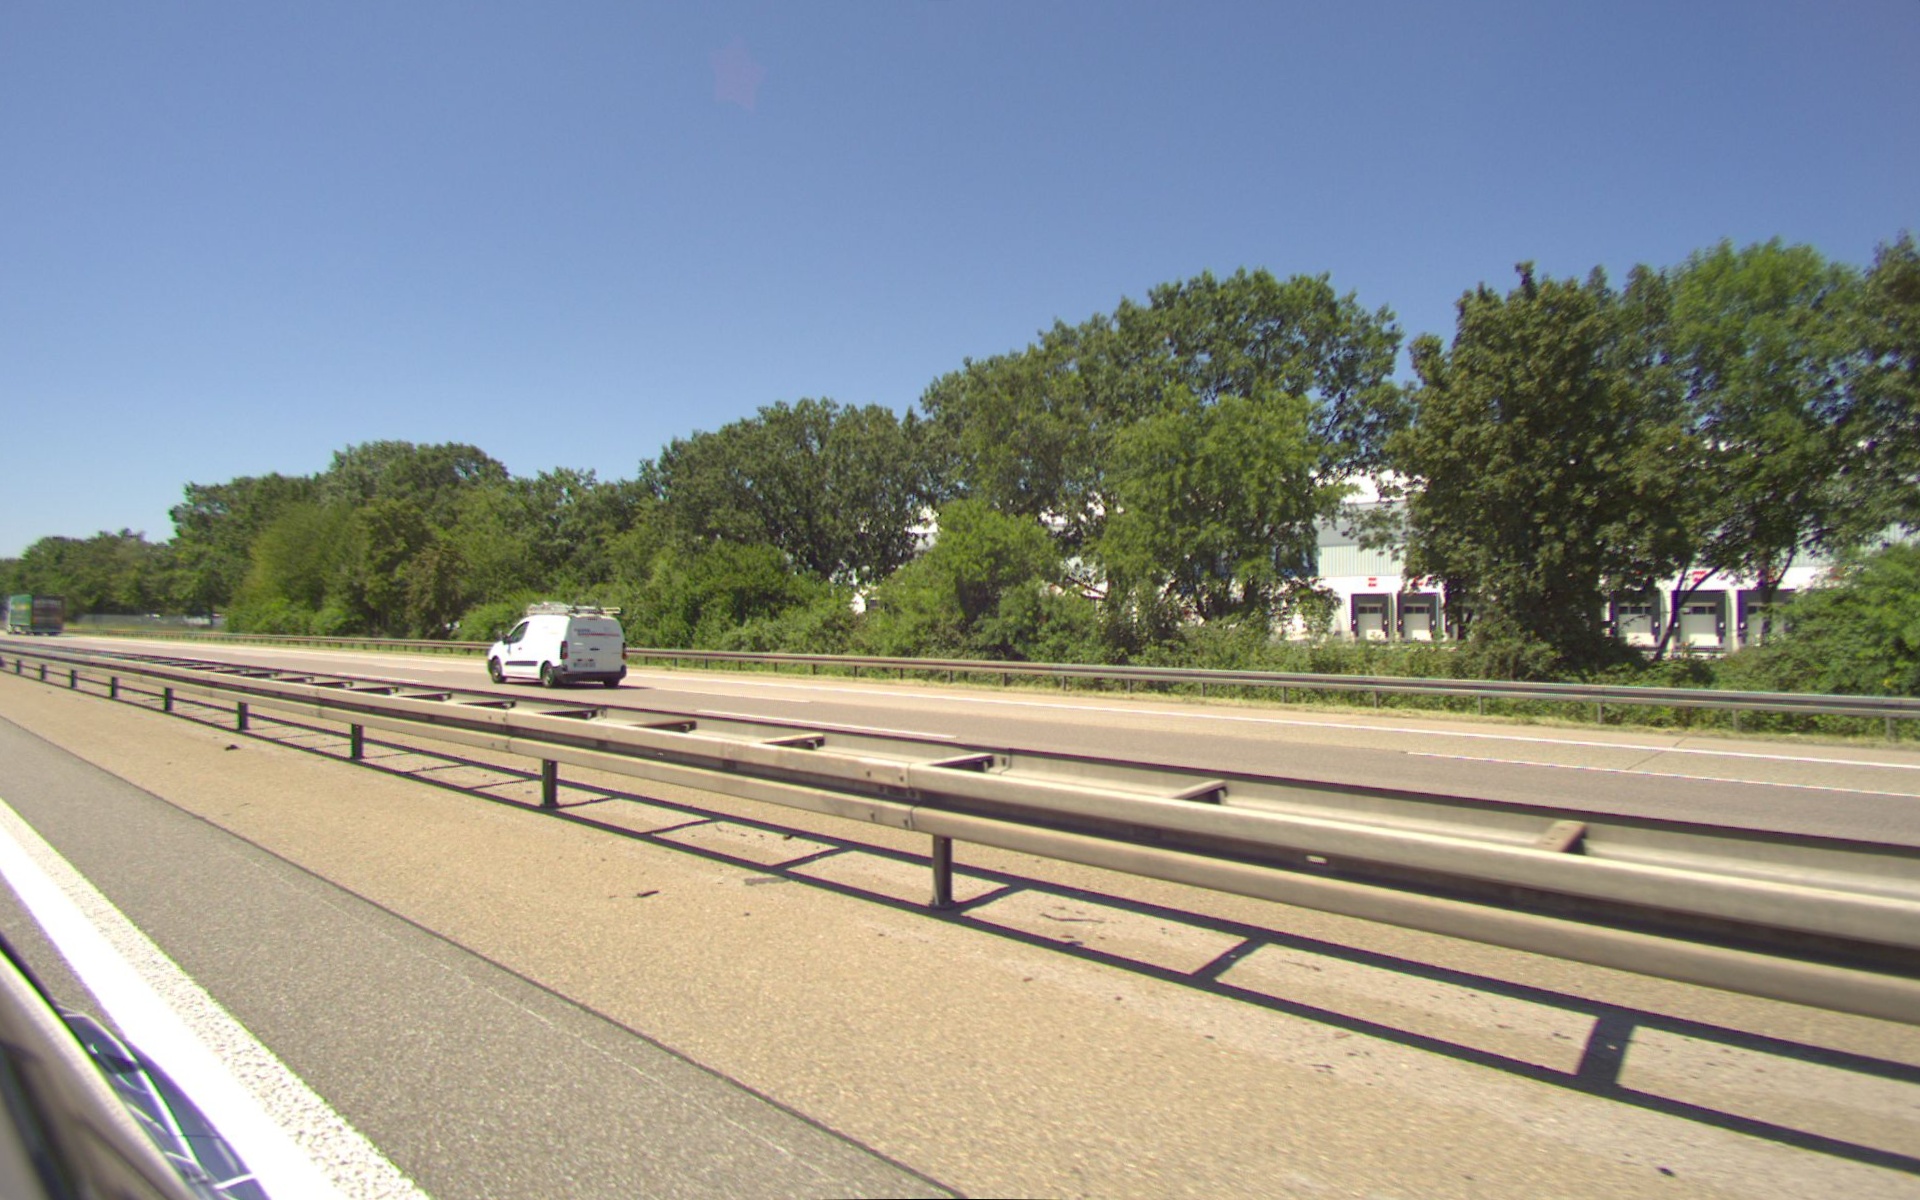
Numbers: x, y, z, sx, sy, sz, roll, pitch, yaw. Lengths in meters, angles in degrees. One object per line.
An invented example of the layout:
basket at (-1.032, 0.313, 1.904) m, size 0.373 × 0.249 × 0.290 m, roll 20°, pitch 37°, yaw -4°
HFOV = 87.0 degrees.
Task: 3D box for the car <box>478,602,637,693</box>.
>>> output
car at (-9.880, 1.116, 24.707) m, size 4.378 × 2.029 × 1.769 m, roll -1°, pitch -4°, yaw 42°

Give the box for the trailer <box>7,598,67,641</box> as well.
trailer at (-93.074, 1.972, 101.917) m, size 13.675 × 4.075 × 2.846 m, roll -1°, pitch -4°, yaw 42°
